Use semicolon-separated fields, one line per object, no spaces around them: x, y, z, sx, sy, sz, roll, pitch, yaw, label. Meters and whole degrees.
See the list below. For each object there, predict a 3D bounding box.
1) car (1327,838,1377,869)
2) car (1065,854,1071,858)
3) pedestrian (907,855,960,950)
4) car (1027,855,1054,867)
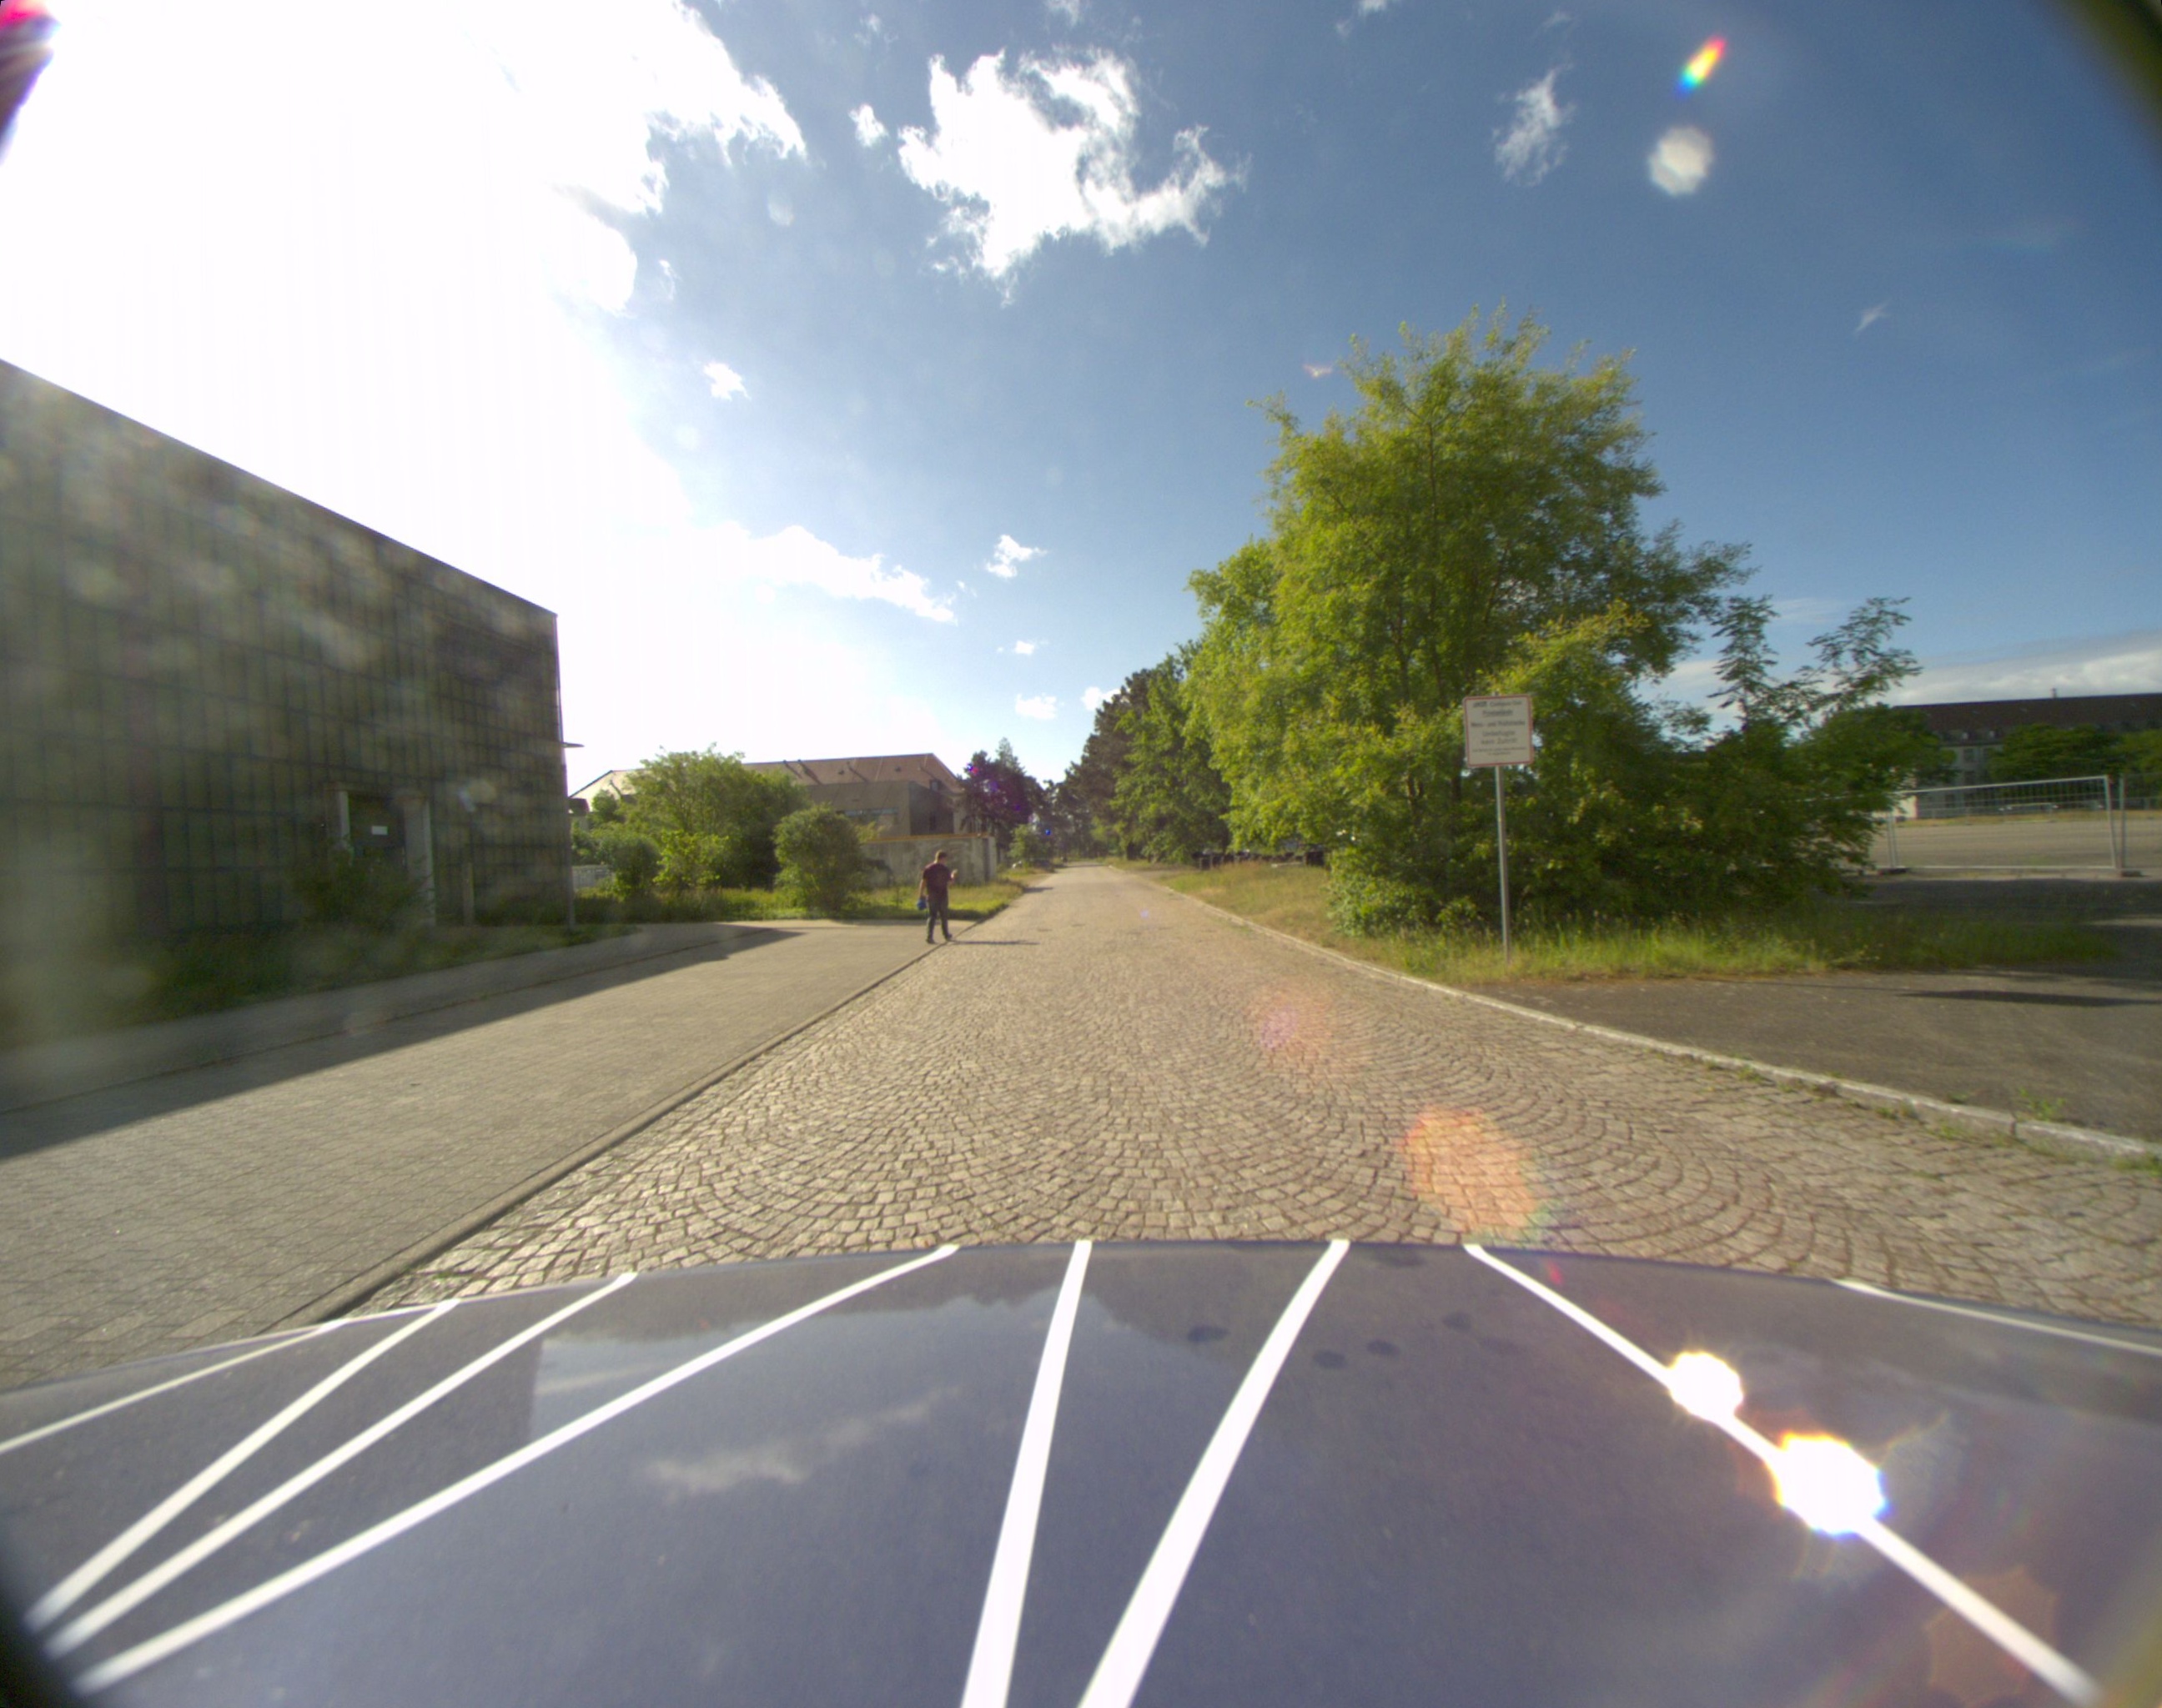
13.540;-0.028;38.127;1.544;1.398;3.579;-3;0;6;car
-3.501;0.531;202.570;1.373;1.092;2.862;-3;0;-2;car
-2.875;0.926;14.898;0.797;1.770;1.068;-2;1;-1;pedestrian
-4.691;0.772;87.250;2.911;1.252;1.287;-3;1;-8;car
